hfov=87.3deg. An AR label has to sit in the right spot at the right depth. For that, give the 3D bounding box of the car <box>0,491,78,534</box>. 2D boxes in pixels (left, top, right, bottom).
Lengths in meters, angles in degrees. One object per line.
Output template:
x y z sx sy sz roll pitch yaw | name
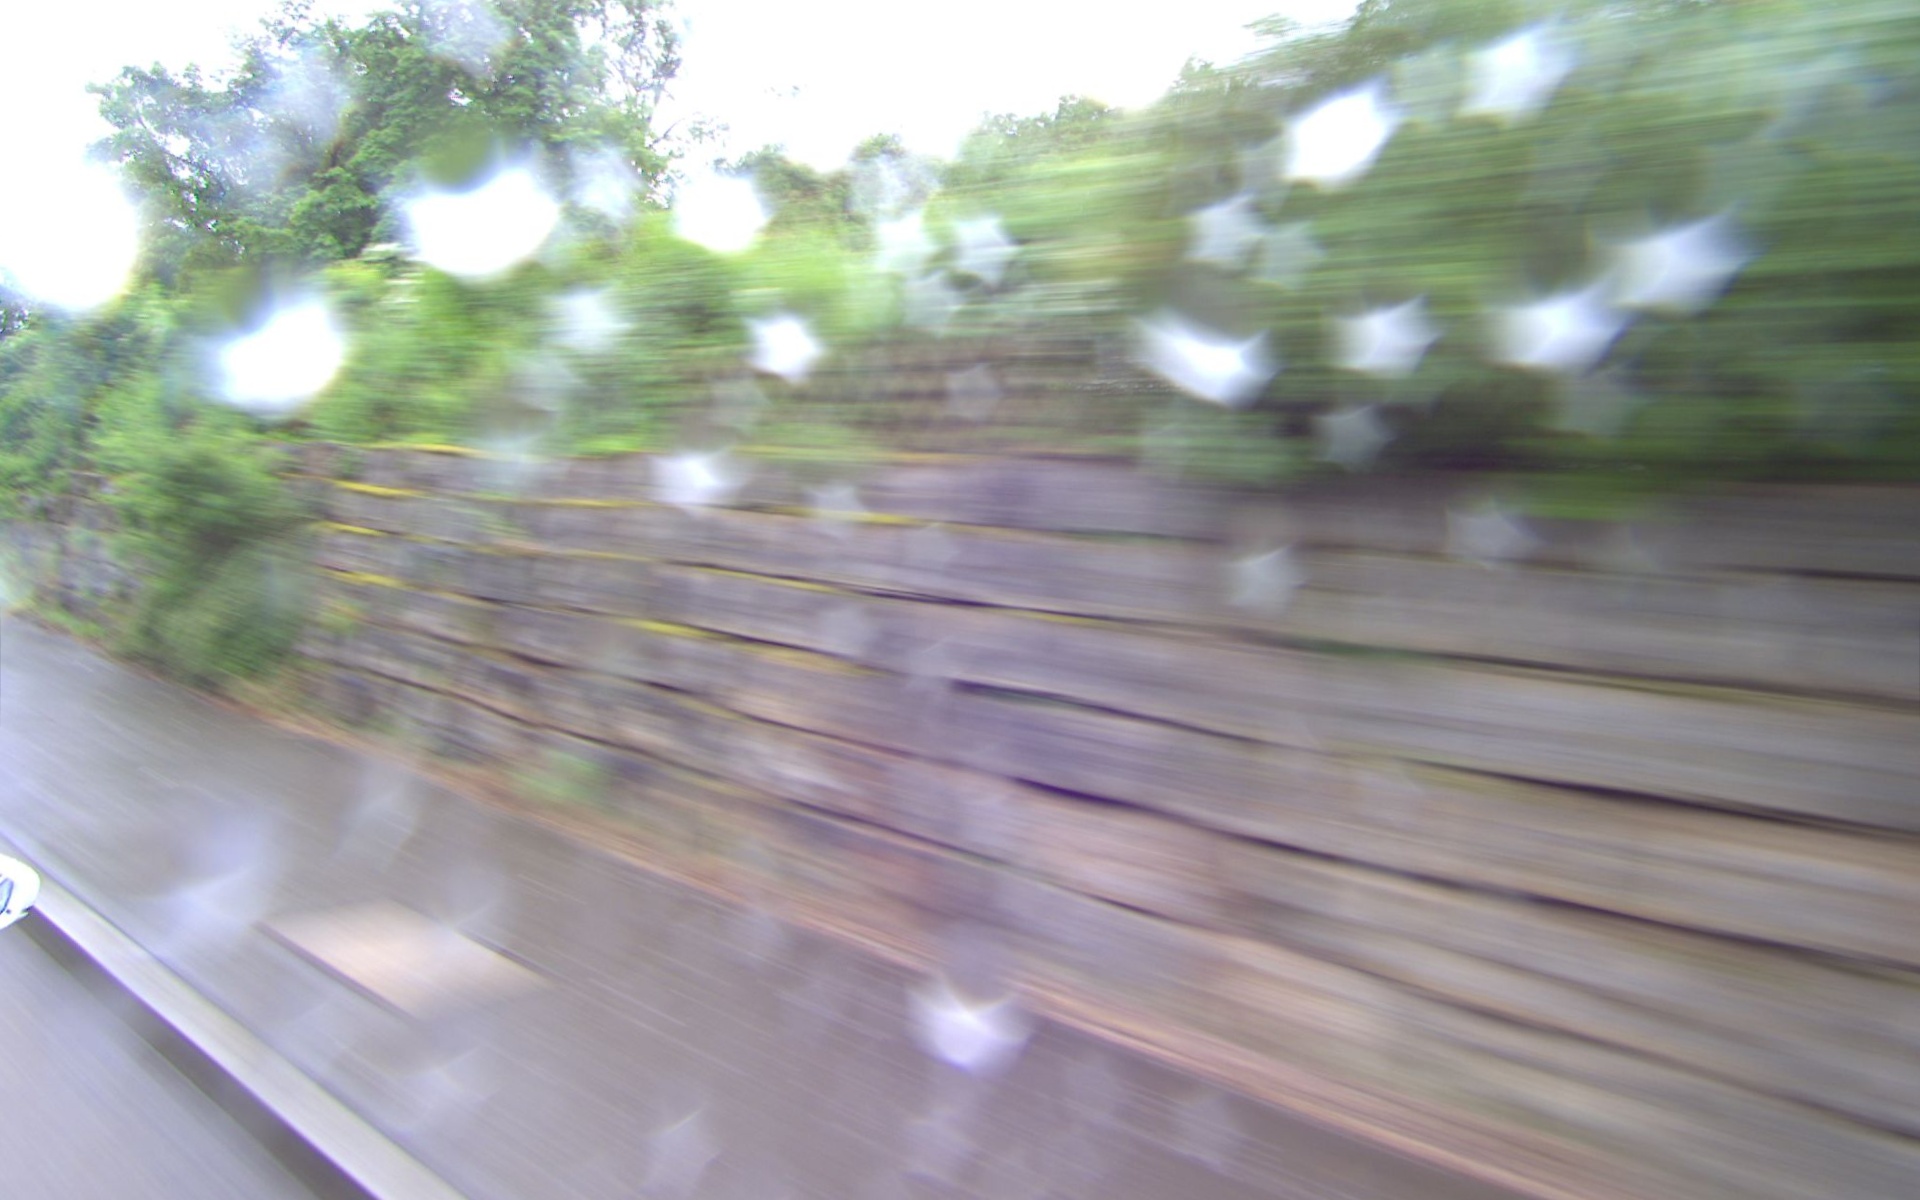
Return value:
-37.403 -3.550 39.702 1.729 1.365 3.796 7 -1 1 | car

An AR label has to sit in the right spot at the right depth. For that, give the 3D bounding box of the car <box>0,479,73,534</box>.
-39.958 -4.026 41.532 2.116 1.964 4.843 7 -1 1 | car
